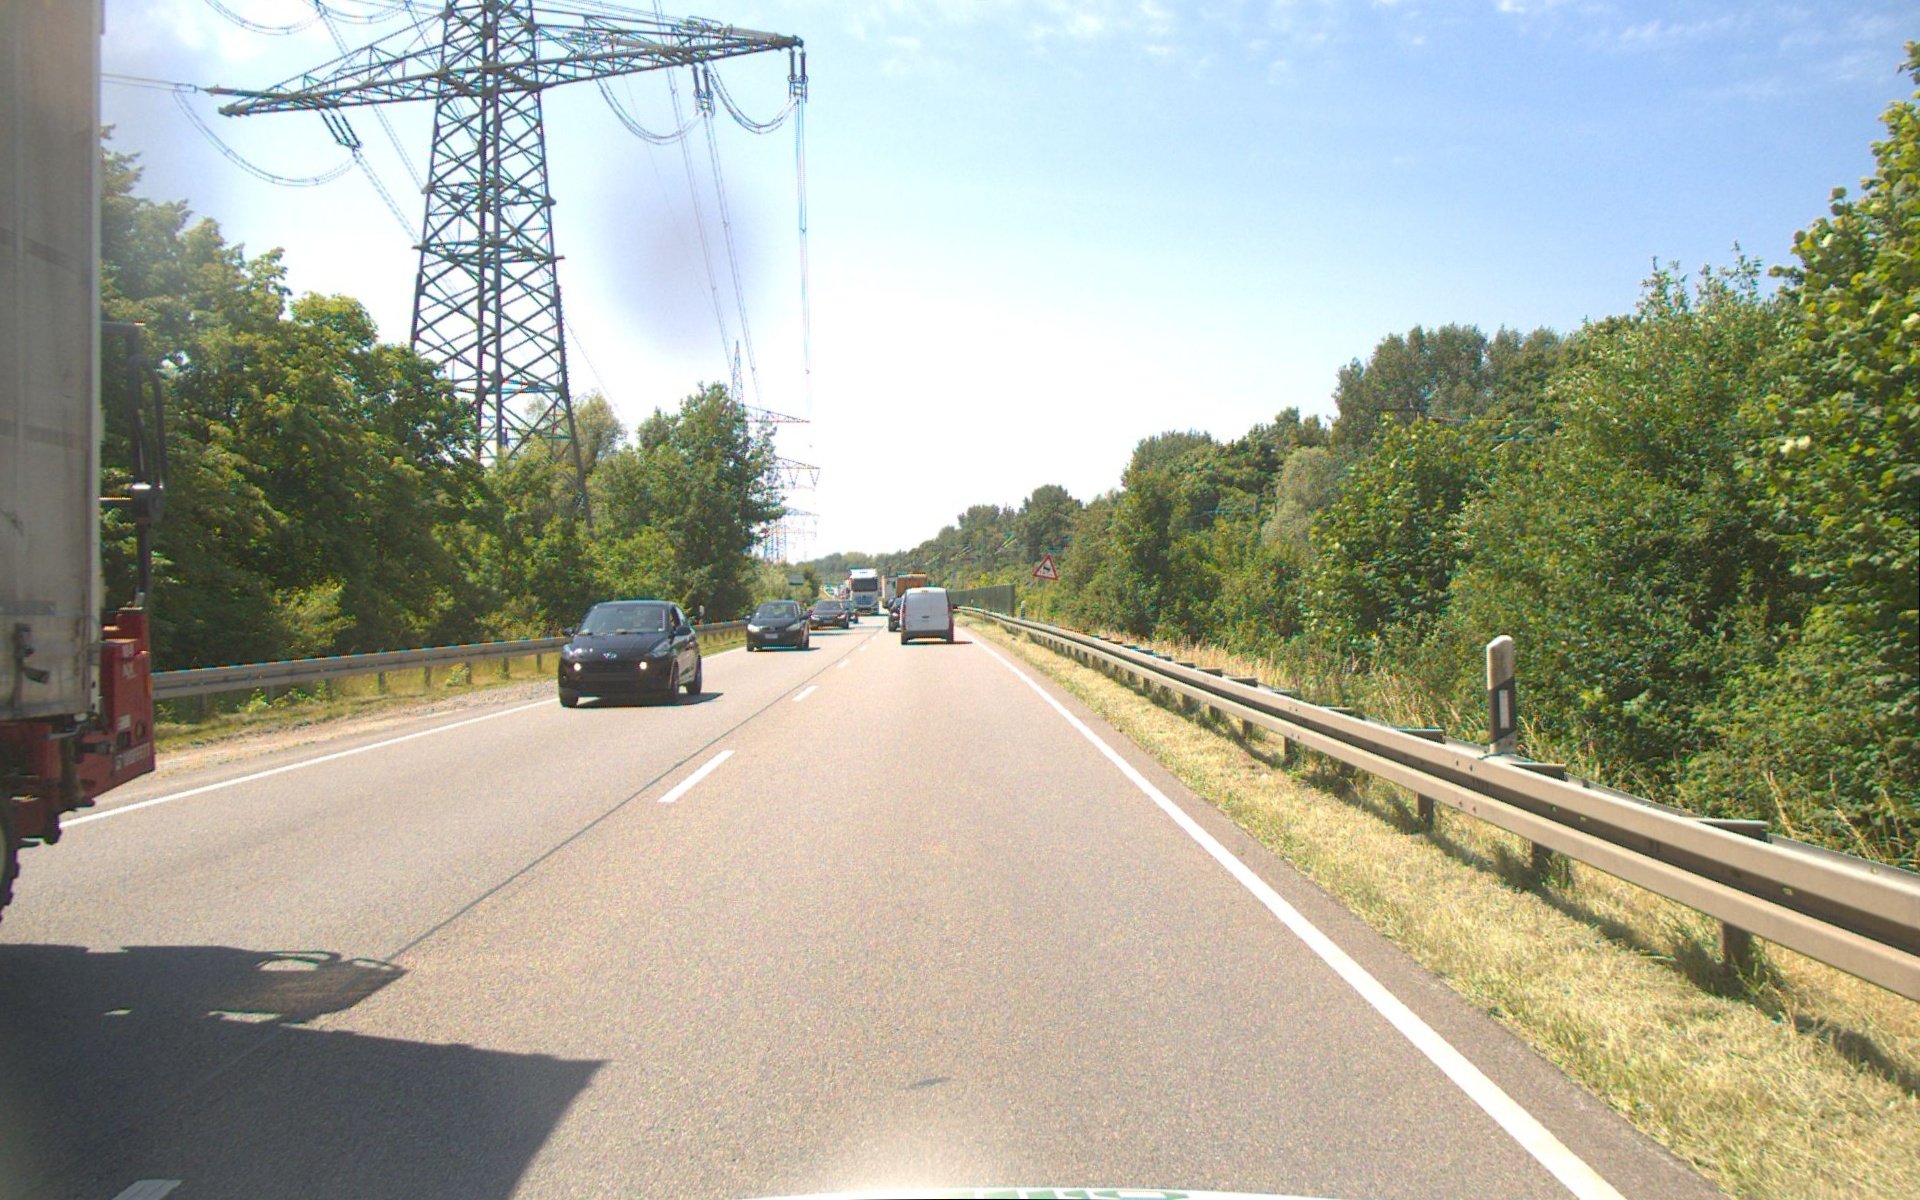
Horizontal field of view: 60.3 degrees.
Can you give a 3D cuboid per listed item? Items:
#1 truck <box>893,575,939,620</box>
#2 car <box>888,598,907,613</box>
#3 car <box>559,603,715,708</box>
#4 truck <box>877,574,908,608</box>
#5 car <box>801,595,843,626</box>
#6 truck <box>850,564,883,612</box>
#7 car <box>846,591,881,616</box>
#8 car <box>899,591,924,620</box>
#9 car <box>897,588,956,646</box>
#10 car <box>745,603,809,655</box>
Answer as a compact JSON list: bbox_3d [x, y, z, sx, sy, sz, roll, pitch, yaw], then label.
[{"bbox_3d":[-3.583,-0.313,131.508,3.231,3.227,14.397,2,1,-3],"label":"truck"},{"bbox_3d":[-6.803,0.574,179.052,1.954,1.553,3.998,-1,0,-3],"label":"car"},{"bbox_3d":[-4.833,0.779,25.226,1.600,1.462,4.179,0,0,-1],"label":"car"},{"bbox_3d":[-8.704,-1.236,211.323,3.335,3.921,16.805,2,1,-4],"label":"truck"},{"bbox_3d":[-6.908,0.506,83.019,1.807,1.523,3.999,0,0,-1],"label":"car"},{"bbox_3d":[-8.298,-1.059,147.751,2.688,4.112,9.660,-2,0,-2],"label":"truck"},{"bbox_3d":[-5.940,0.221,101.977,1.953,1.480,3.999,-1,0,-1],"label":"car"},{"bbox_3d":[-3.535,0.406,119.829,1.728,2.049,3.997,2,0,-3],"label":"car"},{"bbox_3d":[-1.090,0.545,54.256,1.837,1.772,3.999,2,0,-1],"label":"car"},{"bbox_3d":[-5.471,0.835,49.954,1.601,1.462,4.412,-1,0,-3],"label":"car"}]
